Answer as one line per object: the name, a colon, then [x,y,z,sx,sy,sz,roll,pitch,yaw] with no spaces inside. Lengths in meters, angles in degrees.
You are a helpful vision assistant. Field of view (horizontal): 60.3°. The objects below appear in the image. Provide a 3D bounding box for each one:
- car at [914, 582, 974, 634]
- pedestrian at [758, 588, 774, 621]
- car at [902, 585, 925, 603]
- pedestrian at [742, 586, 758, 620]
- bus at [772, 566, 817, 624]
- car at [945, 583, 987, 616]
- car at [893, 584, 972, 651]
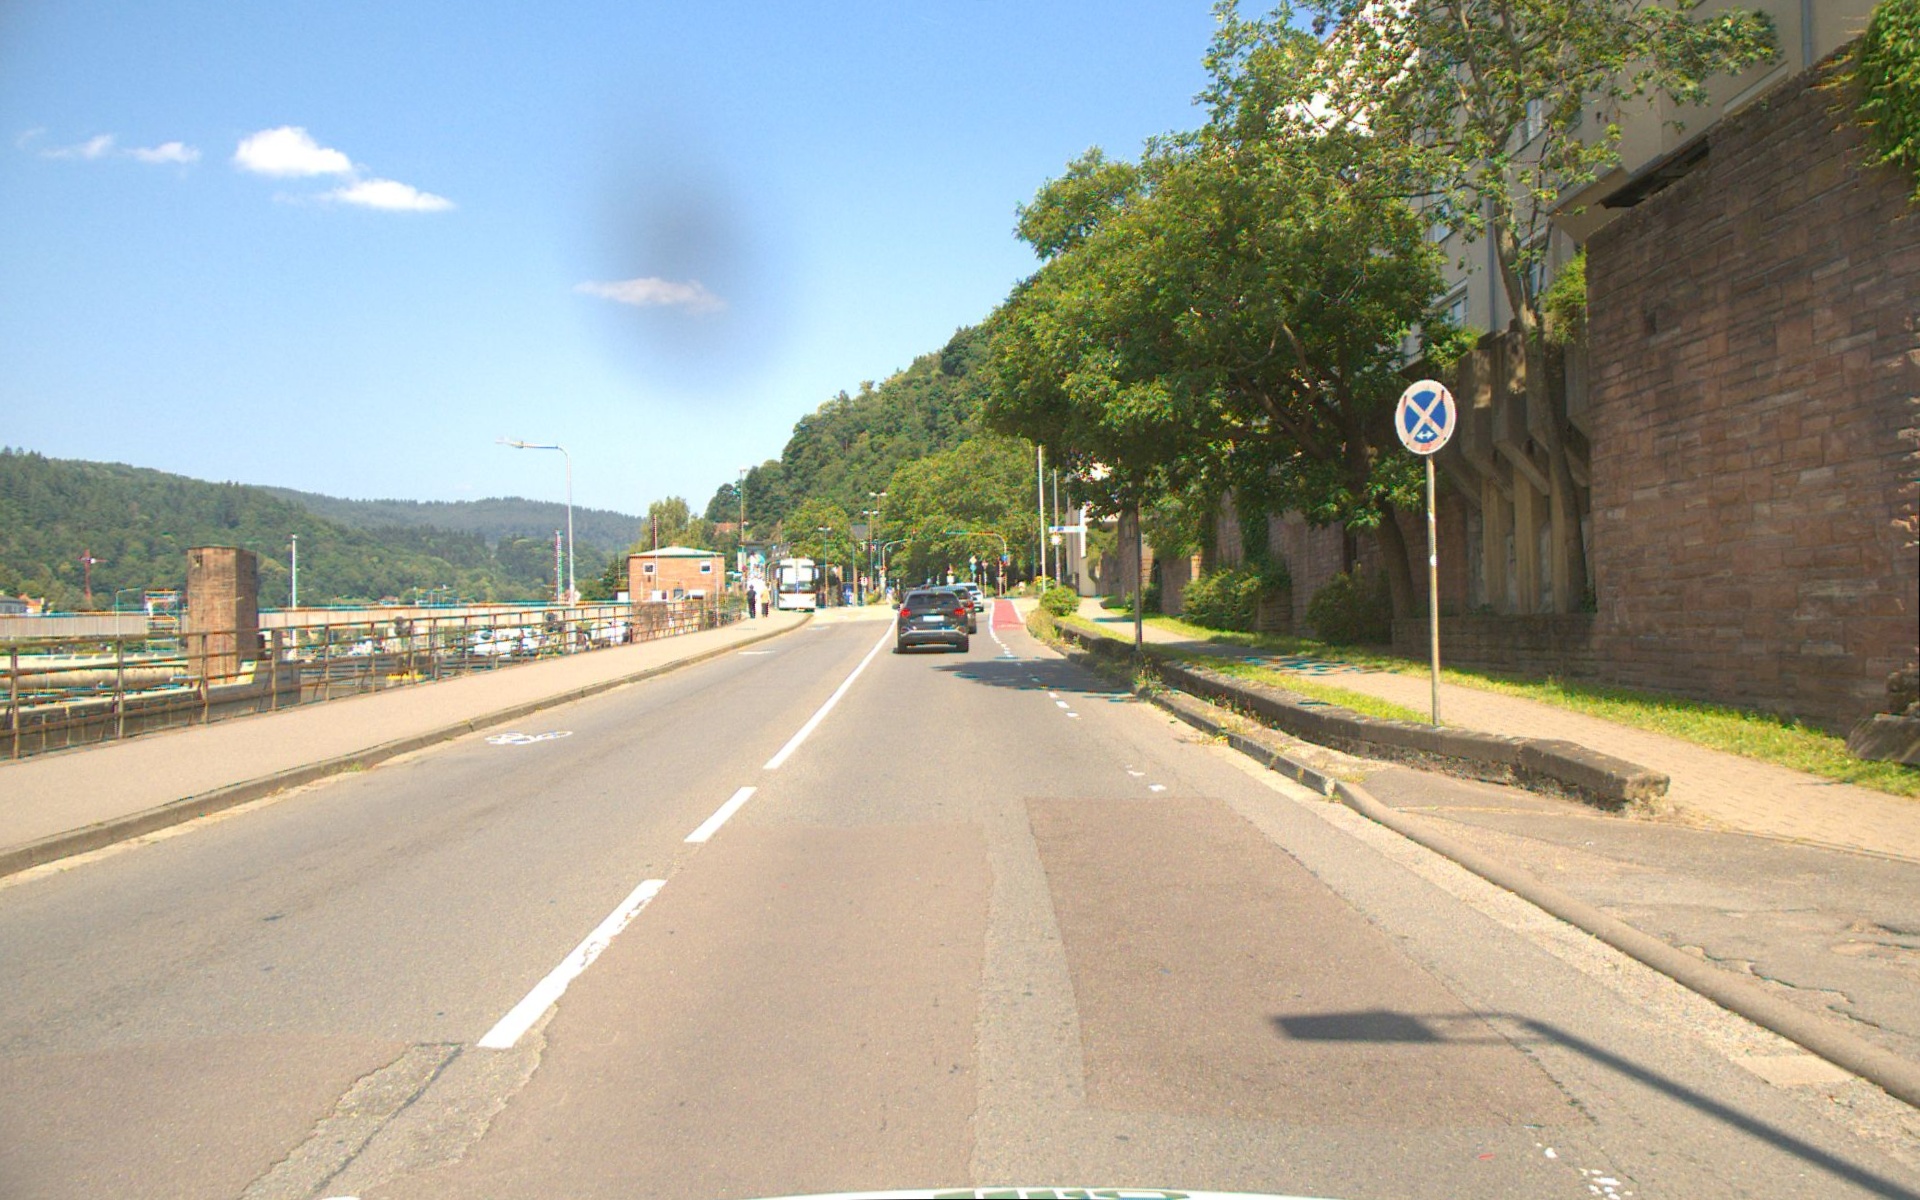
car: [-0.535,0.249,54.213,1.850,1.547,4.305,-2,0,-1]
pedestrian: [-10.160,0.234,86.704,0.688,1.649,0.816,-2,0,-3]
car: [-4.041,-0.531,144.061,1.830,1.382,3.997,-3,1,-3]
pedestrian: [-10.724,0.150,84.395,0.669,1.739,0.773,-2,0,-1]
bus: [-11.891,-0.319,118.582,2.900,3.867,13.226,-2,0,-6]
car: [0.273,-0.024,80.715,1.953,1.560,4.857,-1,0,-1]
car: [-0.683,0.410,41.363,1.831,1.540,4.150,-1,0,-1]
